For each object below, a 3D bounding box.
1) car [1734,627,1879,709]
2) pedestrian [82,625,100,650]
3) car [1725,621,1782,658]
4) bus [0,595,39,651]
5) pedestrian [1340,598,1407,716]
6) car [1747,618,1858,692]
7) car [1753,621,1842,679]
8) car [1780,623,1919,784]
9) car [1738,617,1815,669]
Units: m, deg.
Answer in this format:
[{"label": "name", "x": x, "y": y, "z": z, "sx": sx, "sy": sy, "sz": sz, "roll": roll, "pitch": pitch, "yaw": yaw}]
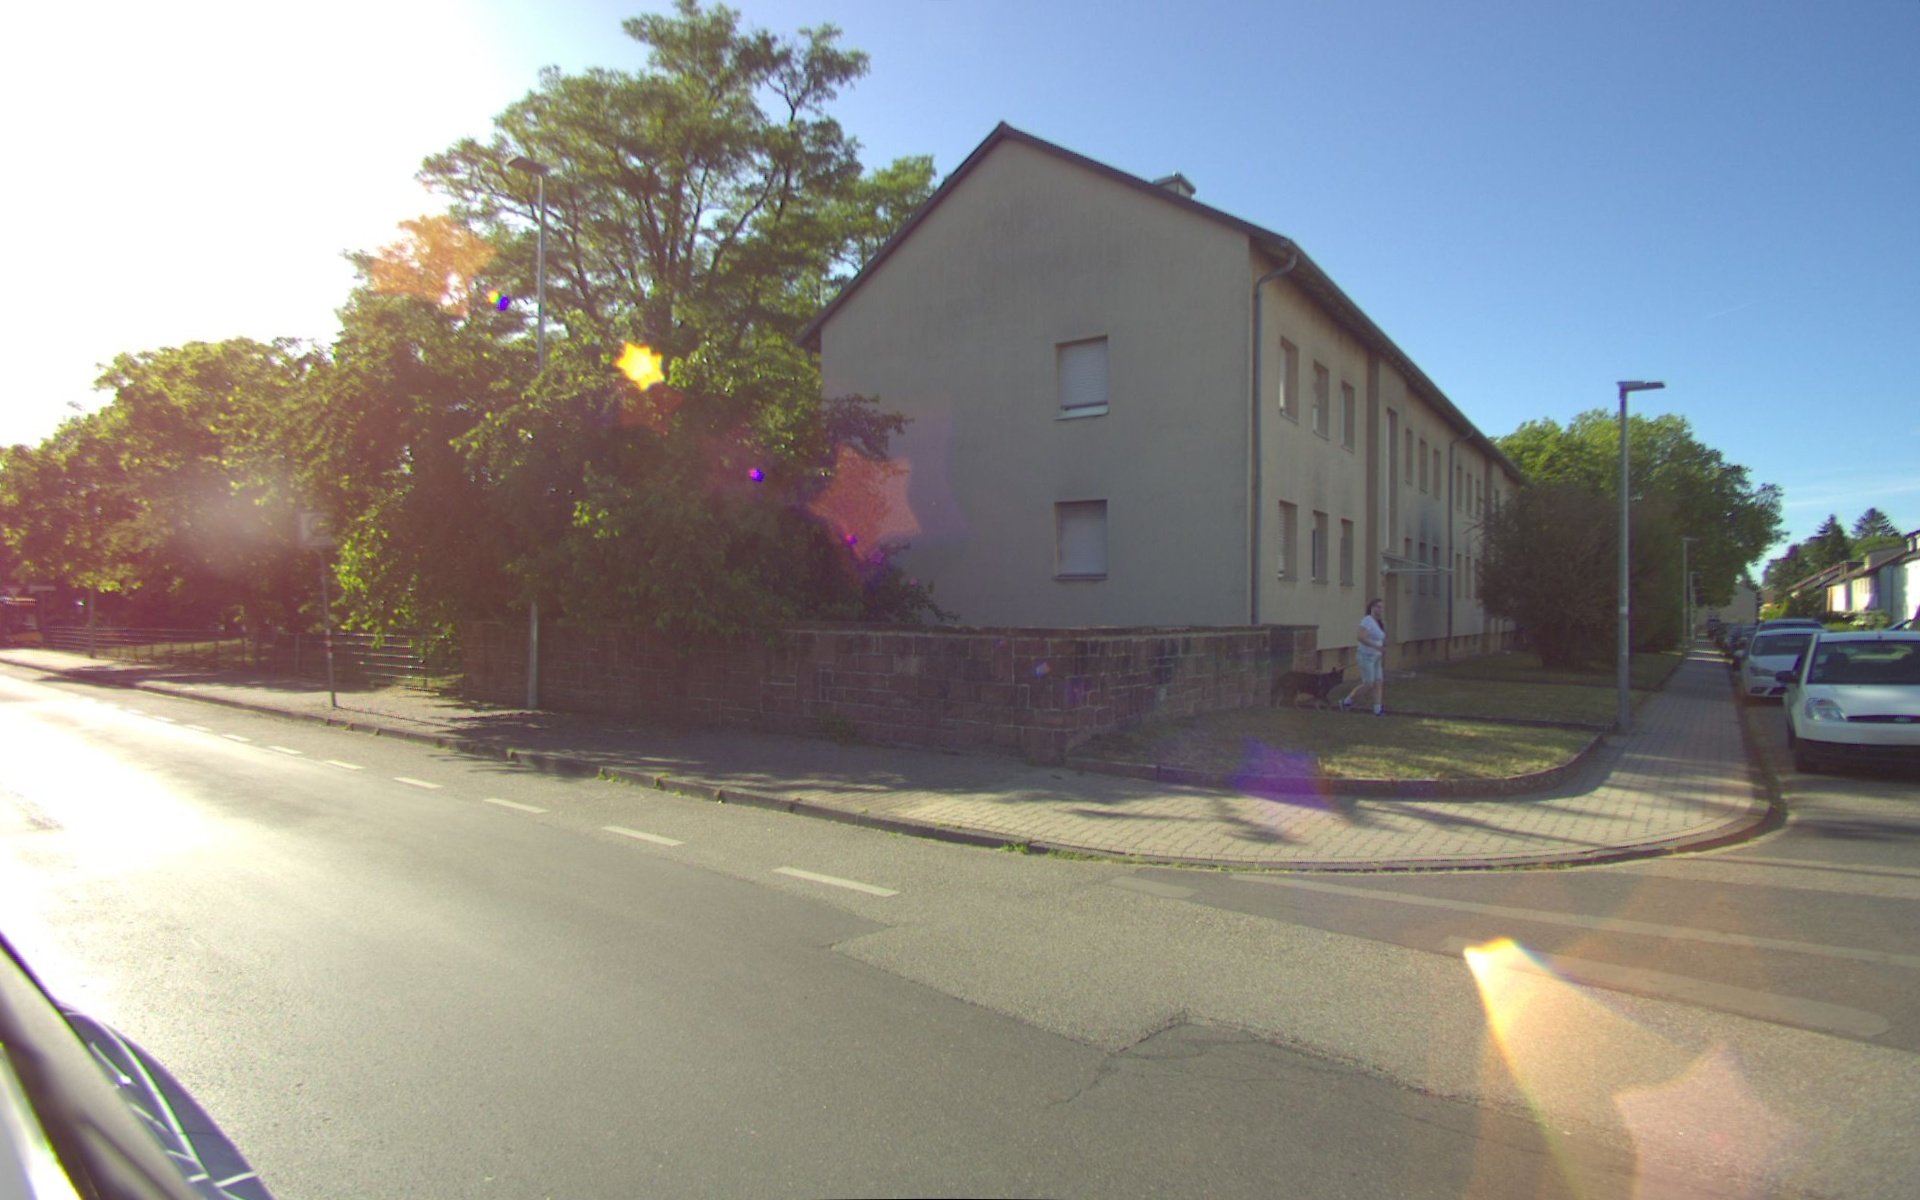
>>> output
[{"label": "car", "x": 16.436, "y": 1.266, "z": 19.831, "sx": 1.867, "sy": 1.407, "sz": 3.732, "roll": -3, "pitch": -3, "yaw": 36}, {"label": "pedestrian", "x": -57.395, "y": 2.478, "z": 66.870, "sx": 0.647, "sy": 1.646, "sz": 0.790, "roll": -2, "pitch": -1, "yaw": 40}, {"label": "car", "x": 36.609, "y": 1.799, "z": 46.670, "sx": 1.869, "sy": 1.626, "sz": 3.728, "roll": -3, "pitch": -3, "yaw": 40}, {"label": "bus", "x": -59.744, "y": 1.488, "z": 56.945, "sx": 12.288, "sy": 3.122, "sz": 3.134, "roll": -2, "pitch": -1, "yaw": -5}, {"label": "pedestrian", "x": 5.727, "y": 0.769, "z": 14.012, "sx": 0.638, "sy": 1.565, "sz": 0.776, "roll": -2, "pitch": -1, "yaw": 37}, {"label": "car", "x": 20.312, "y": 1.274, "z": 24.428, "sx": 1.869, "sy": 1.626, "sz": 3.728, "roll": -3, "pitch": -3, "yaw": 40}, {"label": "car", "x": 24.808, "y": 1.444, "z": 29.997, "sx": 1.869, "sy": 1.626, "sz": 3.728, "roll": -3, "pitch": -3, "yaw": 40}, {"label": "car", "x": 10.141, "y": 1.003, "z": 10.929, "sx": 1.868, "sy": 1.490, "sz": 3.730, "roll": -3, "pitch": -3, "yaw": 38}, {"label": "car", "x": 27.251, "y": 1.418, "z": 33.743, "sx": 1.869, "sy": 1.626, "sz": 3.728, "roll": -3, "pitch": -3, "yaw": 40}]
